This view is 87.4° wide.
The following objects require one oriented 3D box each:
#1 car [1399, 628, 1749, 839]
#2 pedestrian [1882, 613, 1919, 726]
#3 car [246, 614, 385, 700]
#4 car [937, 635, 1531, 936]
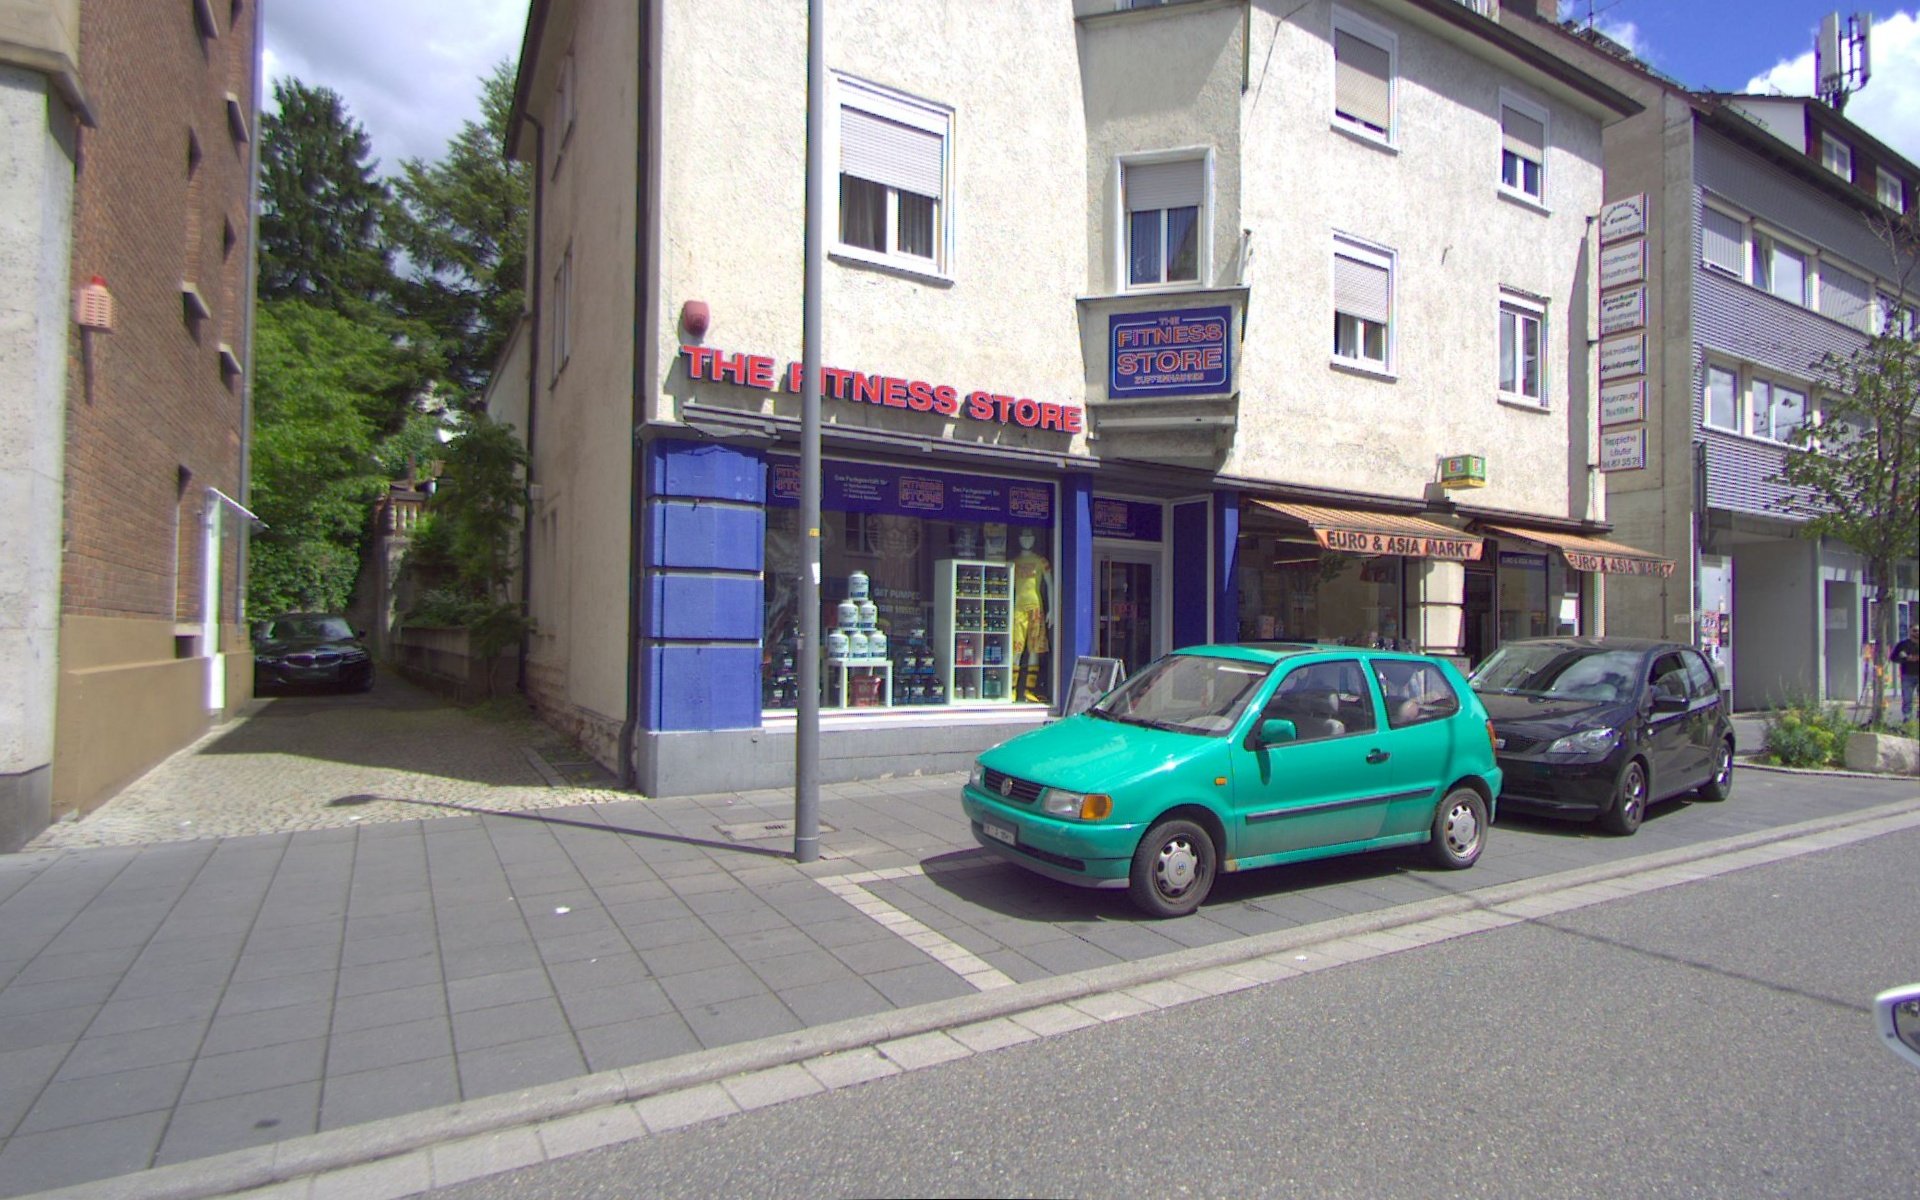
[{"bbox_3d":[5.573,1.034,8.970,3.527,1.465,1.584,2,-1,-39],"label":"car"},{"bbox_3d":[15.315,1.106,16.141,0.721,1.780,0.545,2,0,-33],"label":"pedestrian"},{"bbox_3d":[-12.157,1.002,18.840,1.917,1.350,3.958,2,-1,-36],"label":"car"},{"bbox_3d":[1.828,1.002,6.529,3.623,1.433,1.579,2,-1,-28],"label":"car"}]
